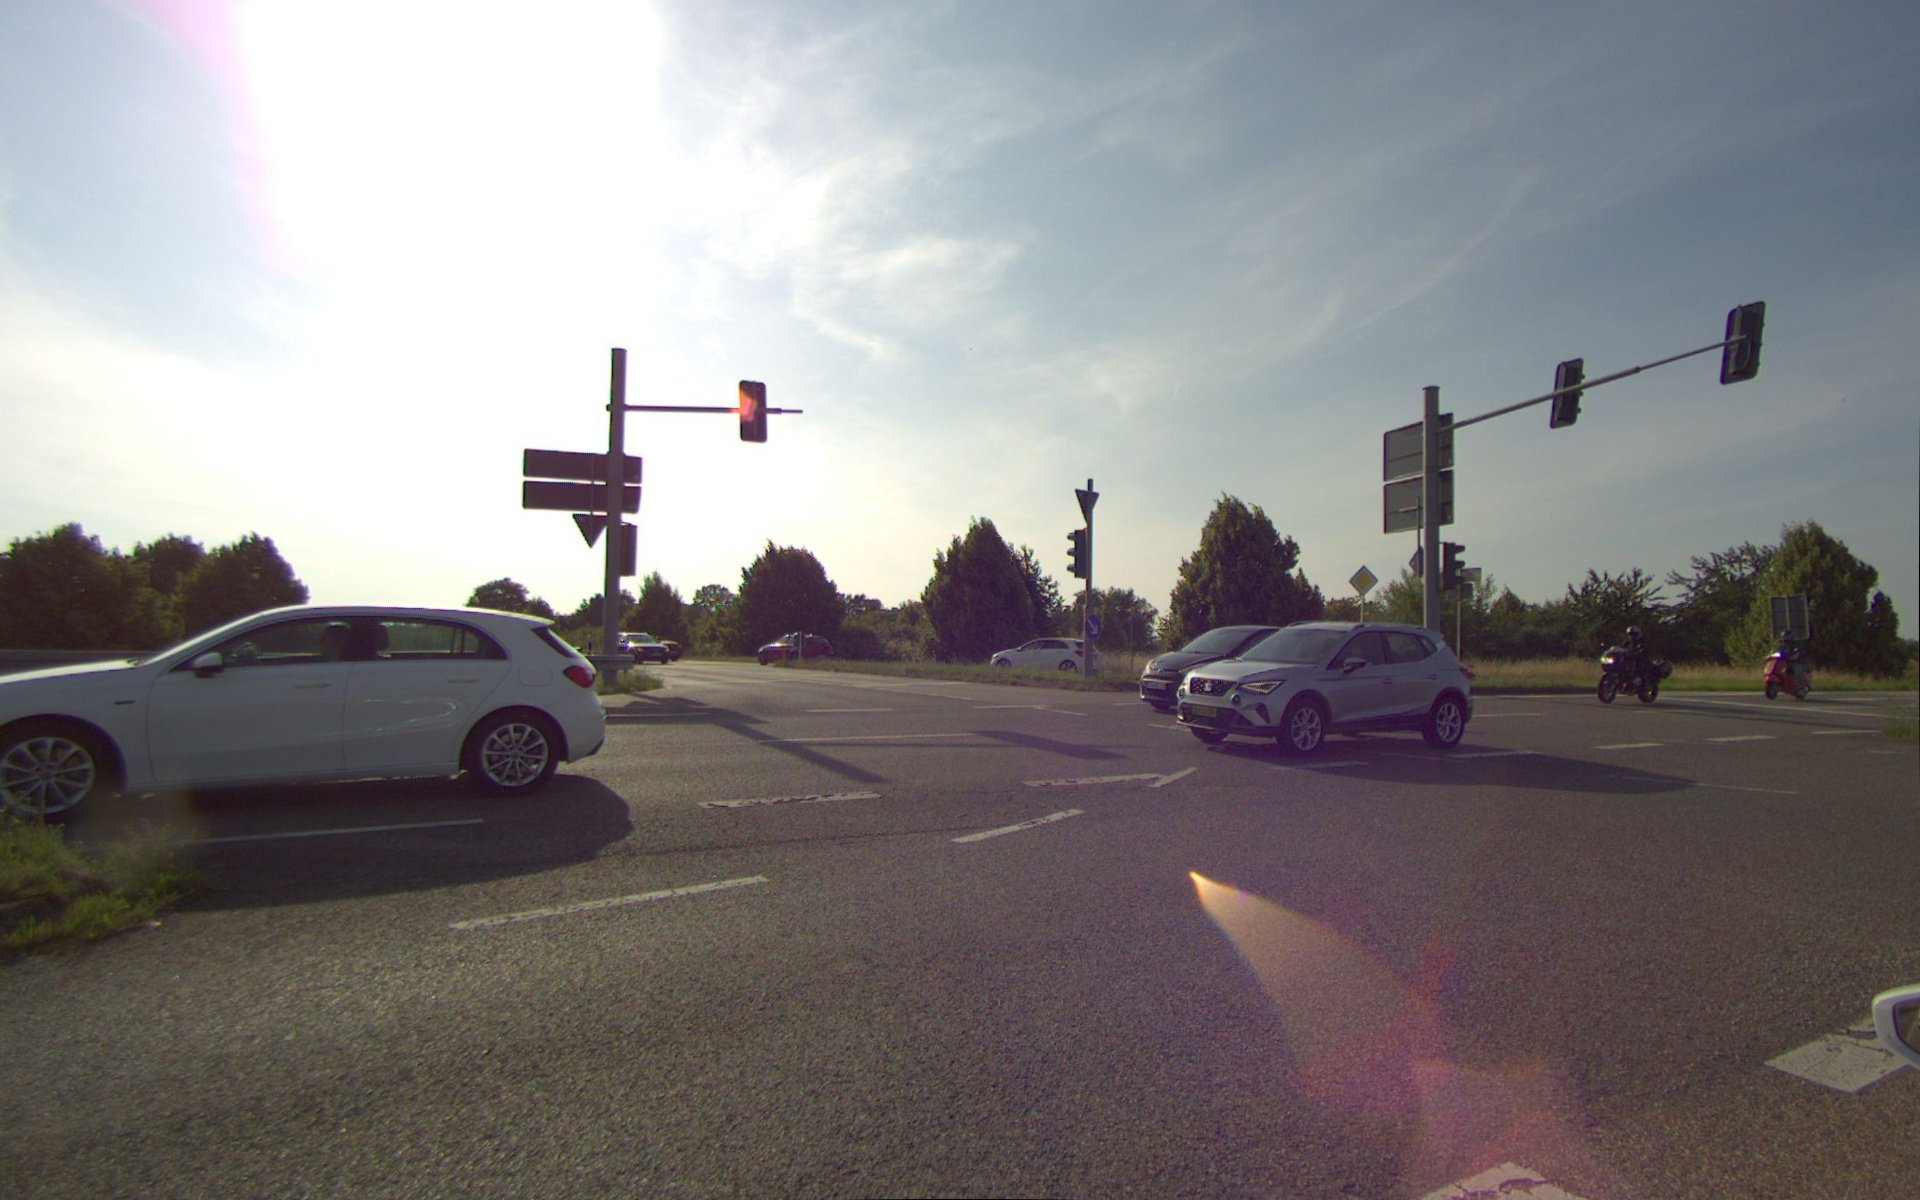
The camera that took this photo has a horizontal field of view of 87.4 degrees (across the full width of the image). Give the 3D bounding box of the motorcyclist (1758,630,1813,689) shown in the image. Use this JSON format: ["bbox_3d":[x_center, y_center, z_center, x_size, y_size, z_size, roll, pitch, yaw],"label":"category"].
[{"bbox_3d":[21.208,1.527,25.809,1.006,1.484,0.703,2,-1,-24],"label":"motorcyclist"}]

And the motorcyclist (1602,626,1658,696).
[{"bbox_3d":[14.873,1.340,22.304,0.885,1.523,0.695,2,-1,-27],"label":"motorcyclist"}]

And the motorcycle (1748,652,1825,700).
[{"bbox_3d":[21.222,1.938,25.794,1.995,1.174,0.706,2,-1,-24],"label":"motorcycle"}]

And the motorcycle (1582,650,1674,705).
[{"bbox_3d":[14.814,1.704,22.267,2.249,1.153,0.698,2,-1,-27],"label":"motorcycle"}]

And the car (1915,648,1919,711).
[{"bbox_3d":[23.153,1.789,21.994,4.390,1.371,1.690,2,-1,-24],"label":"car"}]

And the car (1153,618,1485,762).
[{"bbox_3d":[4.551,1.059,12.605,4.042,1.543,1.679,2,-1,-29],"label":"car"}]

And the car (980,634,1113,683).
[{"bbox_3d":[3.096,2.071,36.292,4.370,1.555,1.948,1,-2,33],"label":"car"}]

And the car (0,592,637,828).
[{"bbox_3d":[-4.877,0.728,7.641,4.343,1.432,1.721,2,-1,-30],"label":"car"}]

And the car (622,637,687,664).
[{"bbox_3d":[-16.750,2.751,54.989,3.944,1.372,1.649,0,-2,43],"label":"car"}]

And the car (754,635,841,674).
[{"bbox_3d":[-7.414,2.441,45.556,1.914,1.607,4.076,3,-2,-44],"label":"car"}]

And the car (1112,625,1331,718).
[{"bbox_3d":[4.536,1.201,17.368,3.478,1.431,1.679,2,-1,-29],"label":"car"}]
